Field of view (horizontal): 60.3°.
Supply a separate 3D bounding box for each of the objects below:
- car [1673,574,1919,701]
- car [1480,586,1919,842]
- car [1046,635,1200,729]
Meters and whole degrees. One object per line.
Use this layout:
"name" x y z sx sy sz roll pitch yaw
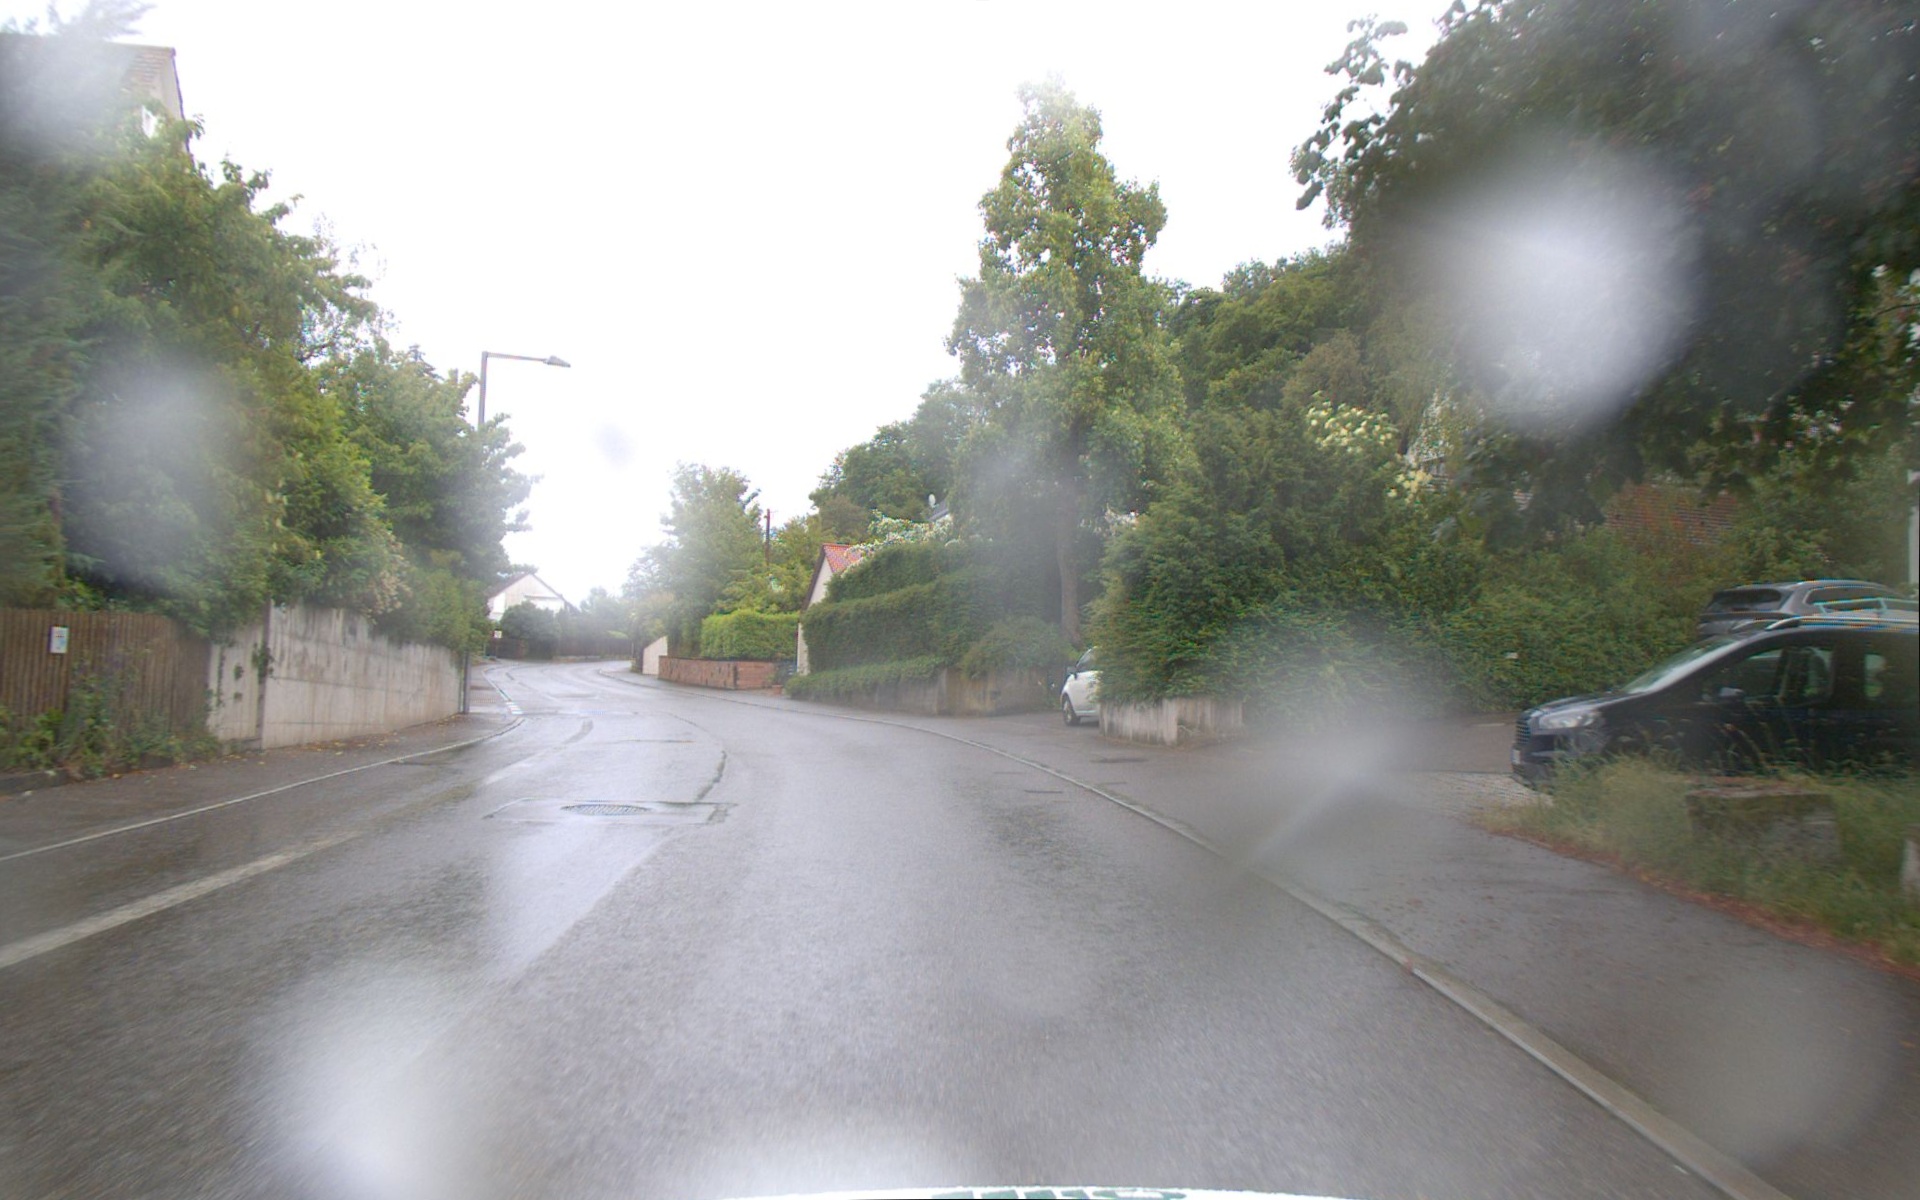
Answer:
"car" 12.293 0.539 23.335 4.209 1.662 1.715 0 -3 -25
"car" 6.591 0.944 13.495 4.240 1.746 1.730 4 -3 11
"car" 2.975 1.487 30.914 1.507 1.562 3.828 -3 -1 -16
